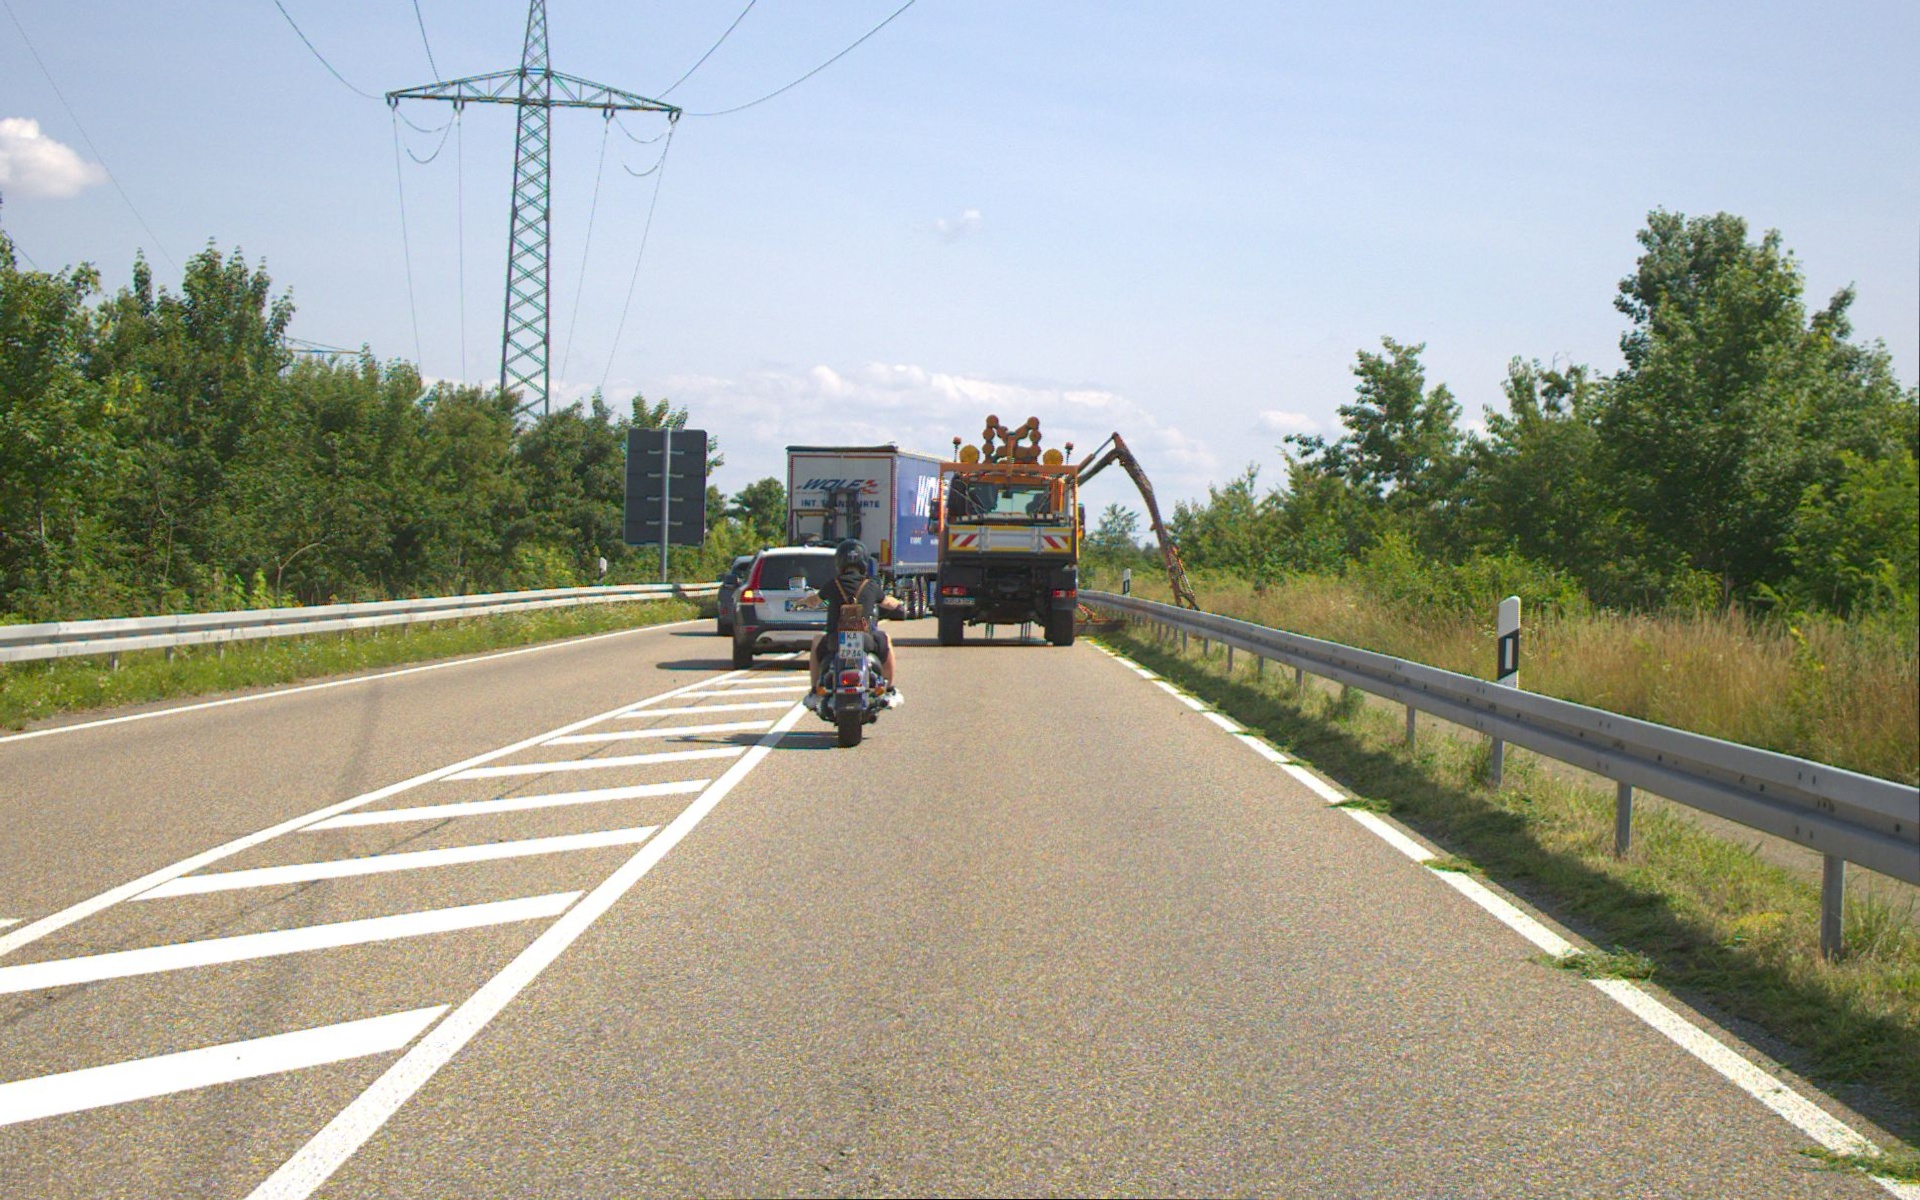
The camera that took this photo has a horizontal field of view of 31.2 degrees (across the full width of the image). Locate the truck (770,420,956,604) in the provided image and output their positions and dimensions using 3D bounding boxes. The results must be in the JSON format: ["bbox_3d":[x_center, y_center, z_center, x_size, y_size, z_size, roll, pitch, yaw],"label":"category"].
[{"bbox_3d":[-2.238,-2.133,86.277,2.968,4.172,14.819,1,1,5],"label":"truck"}]

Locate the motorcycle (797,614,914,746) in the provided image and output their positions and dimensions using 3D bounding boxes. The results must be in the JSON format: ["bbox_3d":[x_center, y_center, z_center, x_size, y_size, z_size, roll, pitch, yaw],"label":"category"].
[{"bbox_3d":[-0.797,0.596,26.487,0.859,0.912,2.228,0,1,-1],"label":"motorcycle"}]

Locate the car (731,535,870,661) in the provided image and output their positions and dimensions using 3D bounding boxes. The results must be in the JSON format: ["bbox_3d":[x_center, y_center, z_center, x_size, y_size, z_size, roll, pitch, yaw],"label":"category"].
[{"bbox_3d":[-2.070,-0.057,44.307,1.701,1.531,3.499,1,1,-3],"label":"car"}]

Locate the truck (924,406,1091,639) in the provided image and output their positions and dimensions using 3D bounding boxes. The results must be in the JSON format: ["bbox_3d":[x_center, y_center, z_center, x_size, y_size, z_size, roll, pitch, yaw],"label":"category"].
[{"bbox_3d":[0.799,-1.306,58.568,2.614,3.698,6.777,1,1,1],"label":"truck"}]

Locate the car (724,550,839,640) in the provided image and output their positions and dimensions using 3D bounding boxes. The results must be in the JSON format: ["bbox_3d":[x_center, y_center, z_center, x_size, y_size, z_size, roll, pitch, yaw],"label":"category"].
[{"bbox_3d":[-3.160,-0.113,61.401,1.855,1.484,3.740,1,1,0],"label":"car"}]

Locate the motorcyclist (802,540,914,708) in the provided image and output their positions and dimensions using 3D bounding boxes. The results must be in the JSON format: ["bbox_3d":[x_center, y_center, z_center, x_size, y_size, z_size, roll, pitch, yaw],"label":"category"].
[{"bbox_3d":[-0.791,0.175,26.809,0.837,1.276,0.919,1,1,-1],"label":"motorcyclist"}]
